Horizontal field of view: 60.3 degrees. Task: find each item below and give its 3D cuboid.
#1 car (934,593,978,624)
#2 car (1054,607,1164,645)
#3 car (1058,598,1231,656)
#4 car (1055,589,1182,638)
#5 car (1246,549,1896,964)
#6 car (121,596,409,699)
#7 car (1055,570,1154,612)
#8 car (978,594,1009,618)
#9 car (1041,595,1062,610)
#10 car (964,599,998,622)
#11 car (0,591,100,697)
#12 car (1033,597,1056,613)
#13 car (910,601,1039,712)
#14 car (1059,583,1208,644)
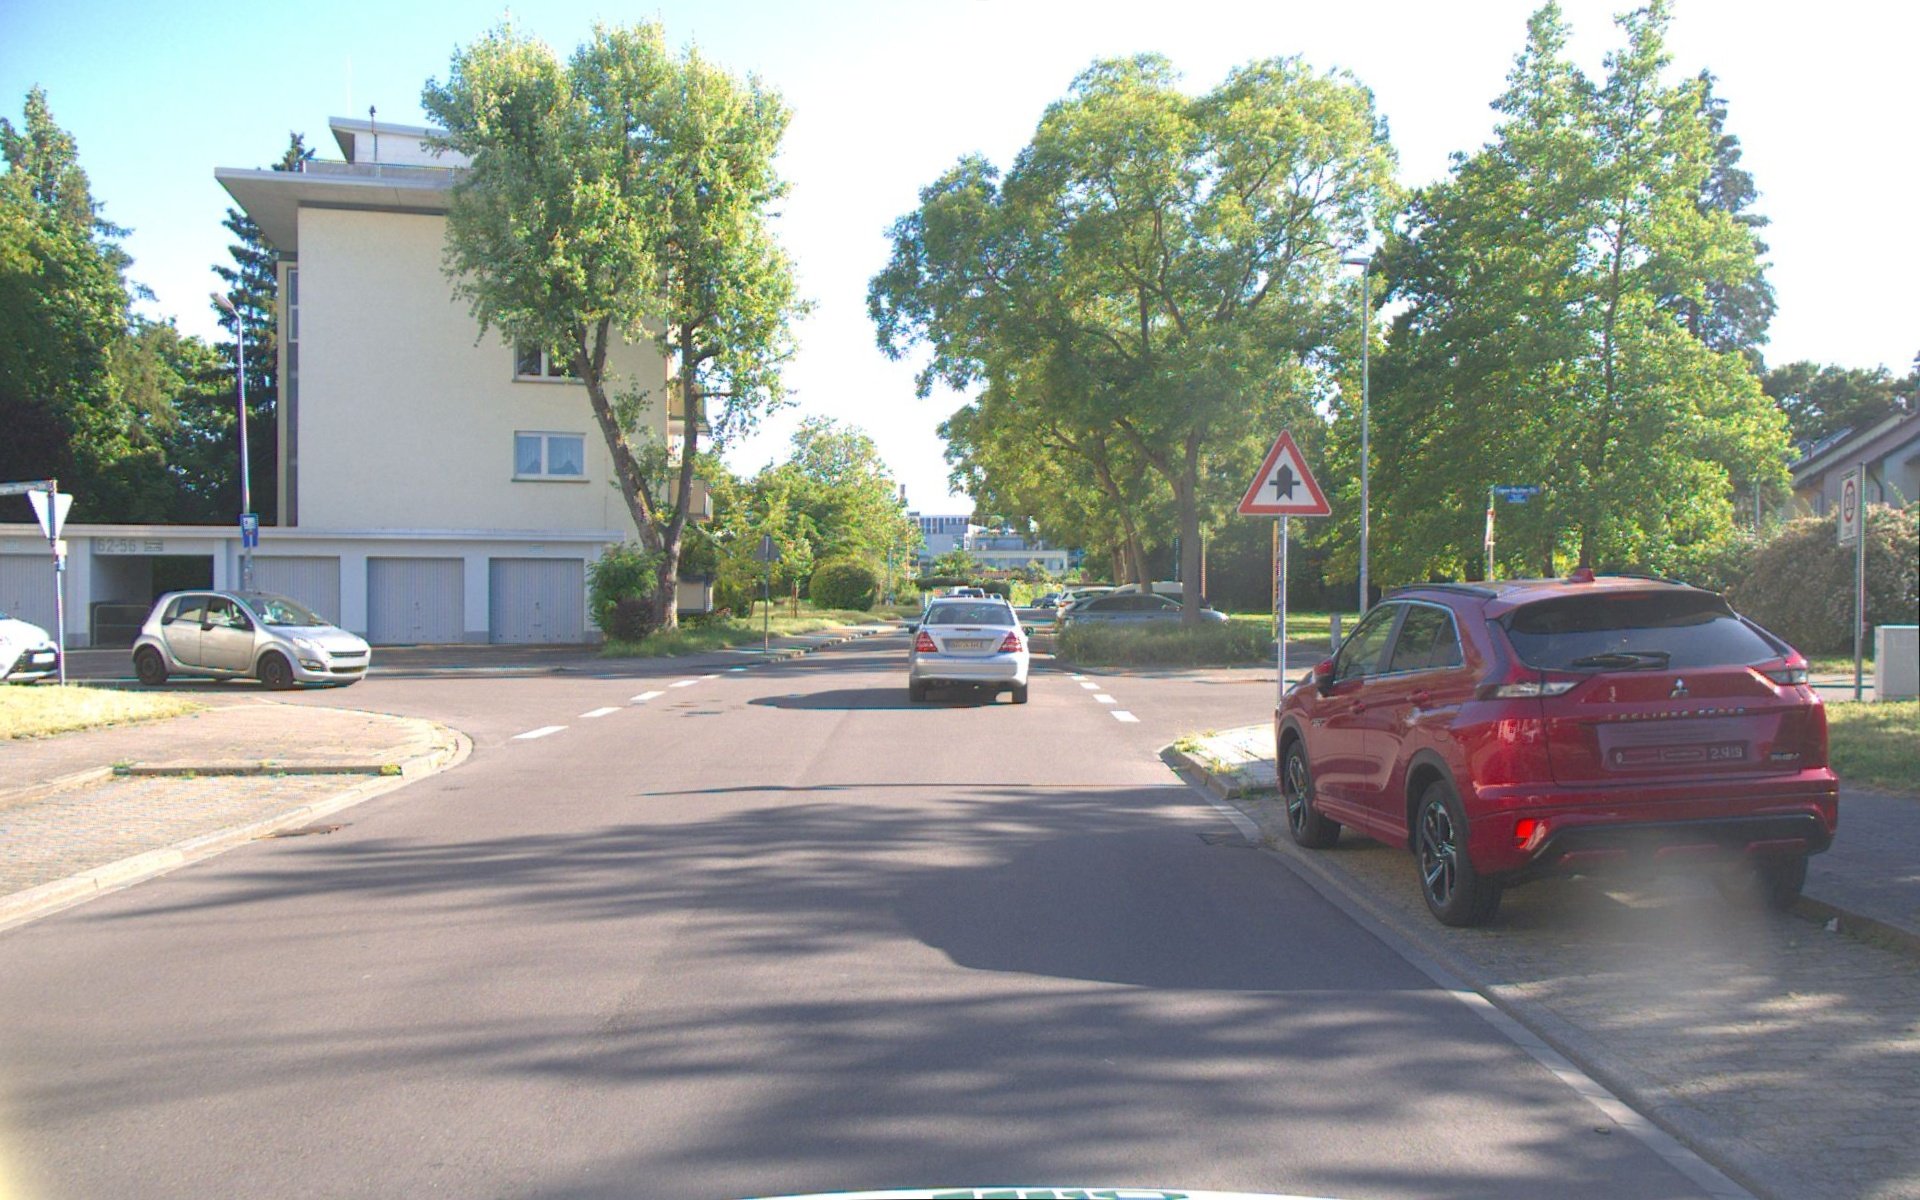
[{"bbox_3d":[-0.194,0.446,89.358,1.873,1.516,3.839,-3,0,6],"label":"car"},{"bbox_3d":[6.668,1.156,74.296,4.784,1.656,2.000,0,0,0],"label":"car"},{"bbox_3d":[5.141,0.734,46.576,4.683,1.576,2.012,0,0,1],"label":"car"},{"bbox_3d":[6.123,0.516,64.094,4.782,1.754,2.001,-1,0,4],"label":"car"},{"bbox_3d":[3.078,0.667,9.531,1.740,1.709,4.642,-3,0,-3],"label":"car"},{"bbox_3d":[-10.905,0.702,26.015,3.847,1.486,1.998,1,0,20],"label":"car"},{"bbox_3d":[7.577,-0.467,86.656,5.107,2.095,2.001,0,0,5],"label":"car"},{"bbox_3d":[2.341,0.412,114.466,1.713,1.547,4.196,-1,0,7],"label":"car"},{"bbox_3d":[9.520,0.218,172.538,1.853,1.529,3.659,0,0,9],"label":"car"},{"bbox_3d":[1.396,0.661,107.946,1.713,1.353,3.453,-3,0,8],"label":"car"},{"bbox_3d":[-15.338,0.639,24.724,3.902,1.489,2.045,-1,0,6],"label":"car"},{"bbox_3d":[8.421,0.468,164.312,1.853,1.529,3.659,0,0,9],"label":"car"},{"bbox_3d":[0.168,0.768,23.671,1.698,1.459,3.437,0,-1,-1],"label":"car"},{"bbox_3d":[5.910,0.448,56.647,4.788,1.957,1.998,-1,0,-4],"label":"car"}]
